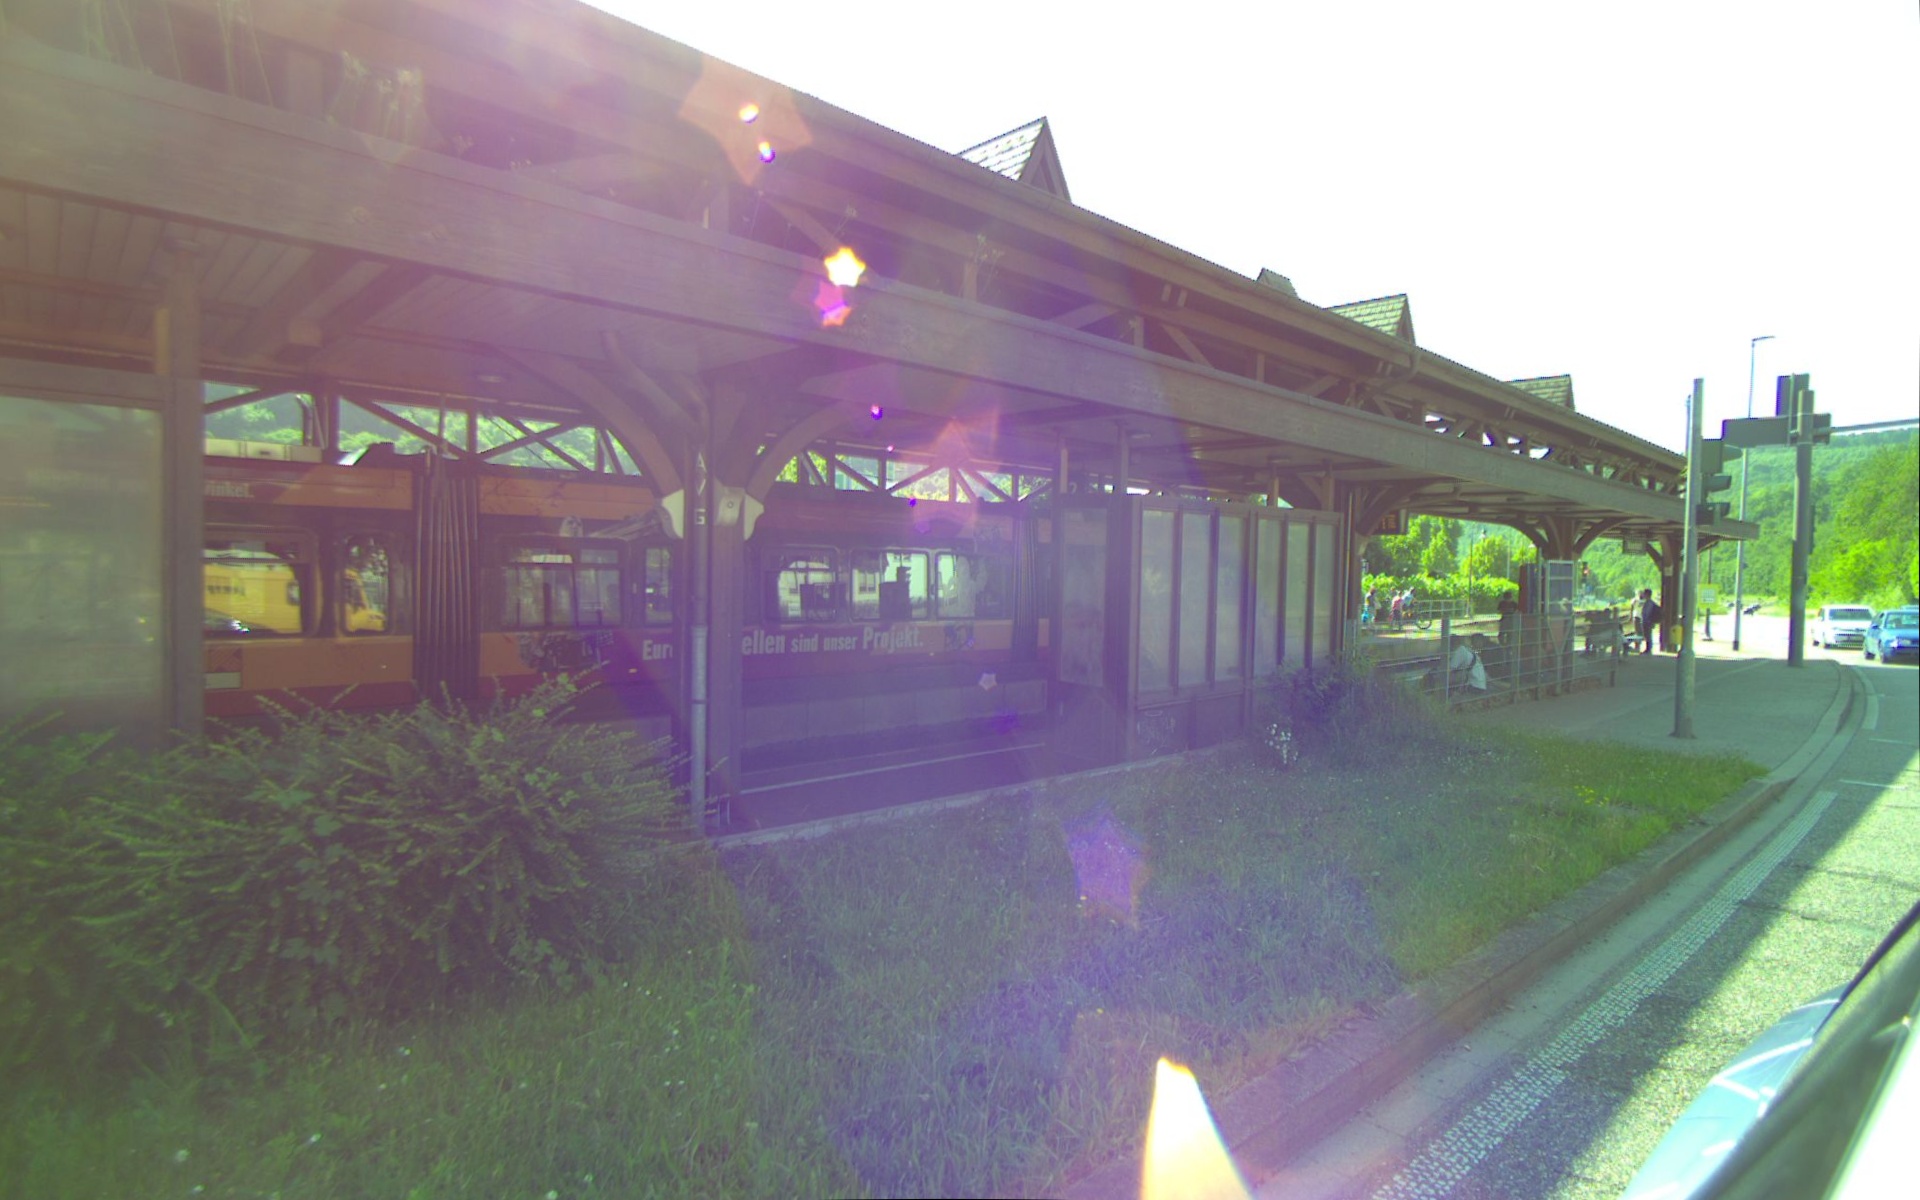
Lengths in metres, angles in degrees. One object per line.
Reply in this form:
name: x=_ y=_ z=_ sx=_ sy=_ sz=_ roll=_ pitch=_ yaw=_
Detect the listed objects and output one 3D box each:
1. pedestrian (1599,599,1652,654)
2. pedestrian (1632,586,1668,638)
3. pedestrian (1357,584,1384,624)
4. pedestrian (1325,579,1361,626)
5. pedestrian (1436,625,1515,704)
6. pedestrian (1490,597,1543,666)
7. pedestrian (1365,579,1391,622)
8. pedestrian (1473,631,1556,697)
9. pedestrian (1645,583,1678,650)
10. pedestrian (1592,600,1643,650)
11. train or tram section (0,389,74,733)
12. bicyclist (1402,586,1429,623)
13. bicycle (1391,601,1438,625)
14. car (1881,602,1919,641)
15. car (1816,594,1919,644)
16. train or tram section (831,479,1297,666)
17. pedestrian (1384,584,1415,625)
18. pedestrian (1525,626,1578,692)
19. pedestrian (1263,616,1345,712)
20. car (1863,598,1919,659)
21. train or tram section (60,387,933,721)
pedestrian: x=15.501 y=0.614 z=23.585 sx=0.988 sy=1.251 sz=0.588 roll=-1 pitch=-2 yaw=37
pedestrian: x=23.852 y=0.431 z=34.967 sx=0.912 sy=1.759 sz=1.234 roll=-1 pitch=-2 yaw=38
pedestrian: x=17.870 y=0.174 z=44.071 sx=0.865 sy=1.706 sz=0.809 roll=-2 pitch=-2 yaw=44
pedestrian: x=15.597 y=0.122 z=41.202 sx=1.054 sy=1.867 sz=0.989 roll=3 pitch=-2 yaw=-40
pedestrian: x=6.820 y=0.830 z=13.398 sx=0.742 sy=0.995 sz=0.757 roll=-1 pitch=-2 yaw=44
pedestrian: x=13.241 y=0.736 z=24.071 sx=0.861 sy=1.567 sz=0.907 roll=1 pitch=0 yaw=45
pedestrian: x=16.887 y=0.018 z=40.886 sx=0.895 sy=1.706 sz=0.814 roll=-1 pitch=-2 yaw=27
pedestrian: x=7.829 y=0.880 z=14.293 sx=0.844 sy=0.885 sz=0.795 roll=-1 pitch=-2 yaw=44
pedestrian: x=18.197 y=0.412 z=26.257 sx=0.655 sy=1.713 sz=0.729 roll=1 pitch=1 yaw=37
pedestrian: x=16.051 y=0.585 z=24.701 sx=1.004 sy=1.174 sz=0.936 roll=0 pitch=0 yaw=37
train or tram section: x=-14.414 y=-0.399 z=7.447 sx=11.840 sy=3.407 sz=2.759 roll=0 pitch=-1 yaw=-42
bicyclist: x=20.153 y=0.201 z=44.785 sx=0.941 sy=1.589 sz=0.777 roll=-1 pitch=-1 yaw=35
bicycle: x=20.120 y=0.576 z=44.774 sx=1.802 sy=1.069 sz=0.596 roll=-1 pitch=-1 yaw=36
car: x=38.376 y=0.854 z=40.215 sx=1.966 sy=1.523 sz=3.939 roll=0 pitch=-1 yaw=33
car: x=31.361 y=0.633 z=35.106 sx=1.985 sy=1.605 sz=3.953 roll=-1 pitch=-1 yaw=32
train or tram section: x=3.398 y=-0.541 z=24.381 sx=14.119 sy=3.407 sz=2.857 roll=0 pitch=0 yaw=-45
pedestrian: x=18.816 y=0.208 z=43.308 sx=0.805 sy=1.706 sz=0.905 roll=0 pitch=-2 yaw=-13
pedestrian: x=9.007 y=0.885 z=15.410 sx=0.617 sy=0.978 sz=0.400 roll=-2 pitch=-2 yaw=44
pedestrian: x=4.215 y=0.763 z=12.397 sx=0.742 sy=1.131 sz=0.657 roll=-2 pitch=-2 yaw=44
car: x=25.359 y=0.719 z=26.616 sx=1.854 sy=1.501 sz=4.248 roll=1 pitch=1 yaw=34
train or tram section: x=-5.763 y=-0.518 z=15.424 sx=11.846 sy=3.407 sz=2.789 roll=-1 pitch=0 yaw=-43
